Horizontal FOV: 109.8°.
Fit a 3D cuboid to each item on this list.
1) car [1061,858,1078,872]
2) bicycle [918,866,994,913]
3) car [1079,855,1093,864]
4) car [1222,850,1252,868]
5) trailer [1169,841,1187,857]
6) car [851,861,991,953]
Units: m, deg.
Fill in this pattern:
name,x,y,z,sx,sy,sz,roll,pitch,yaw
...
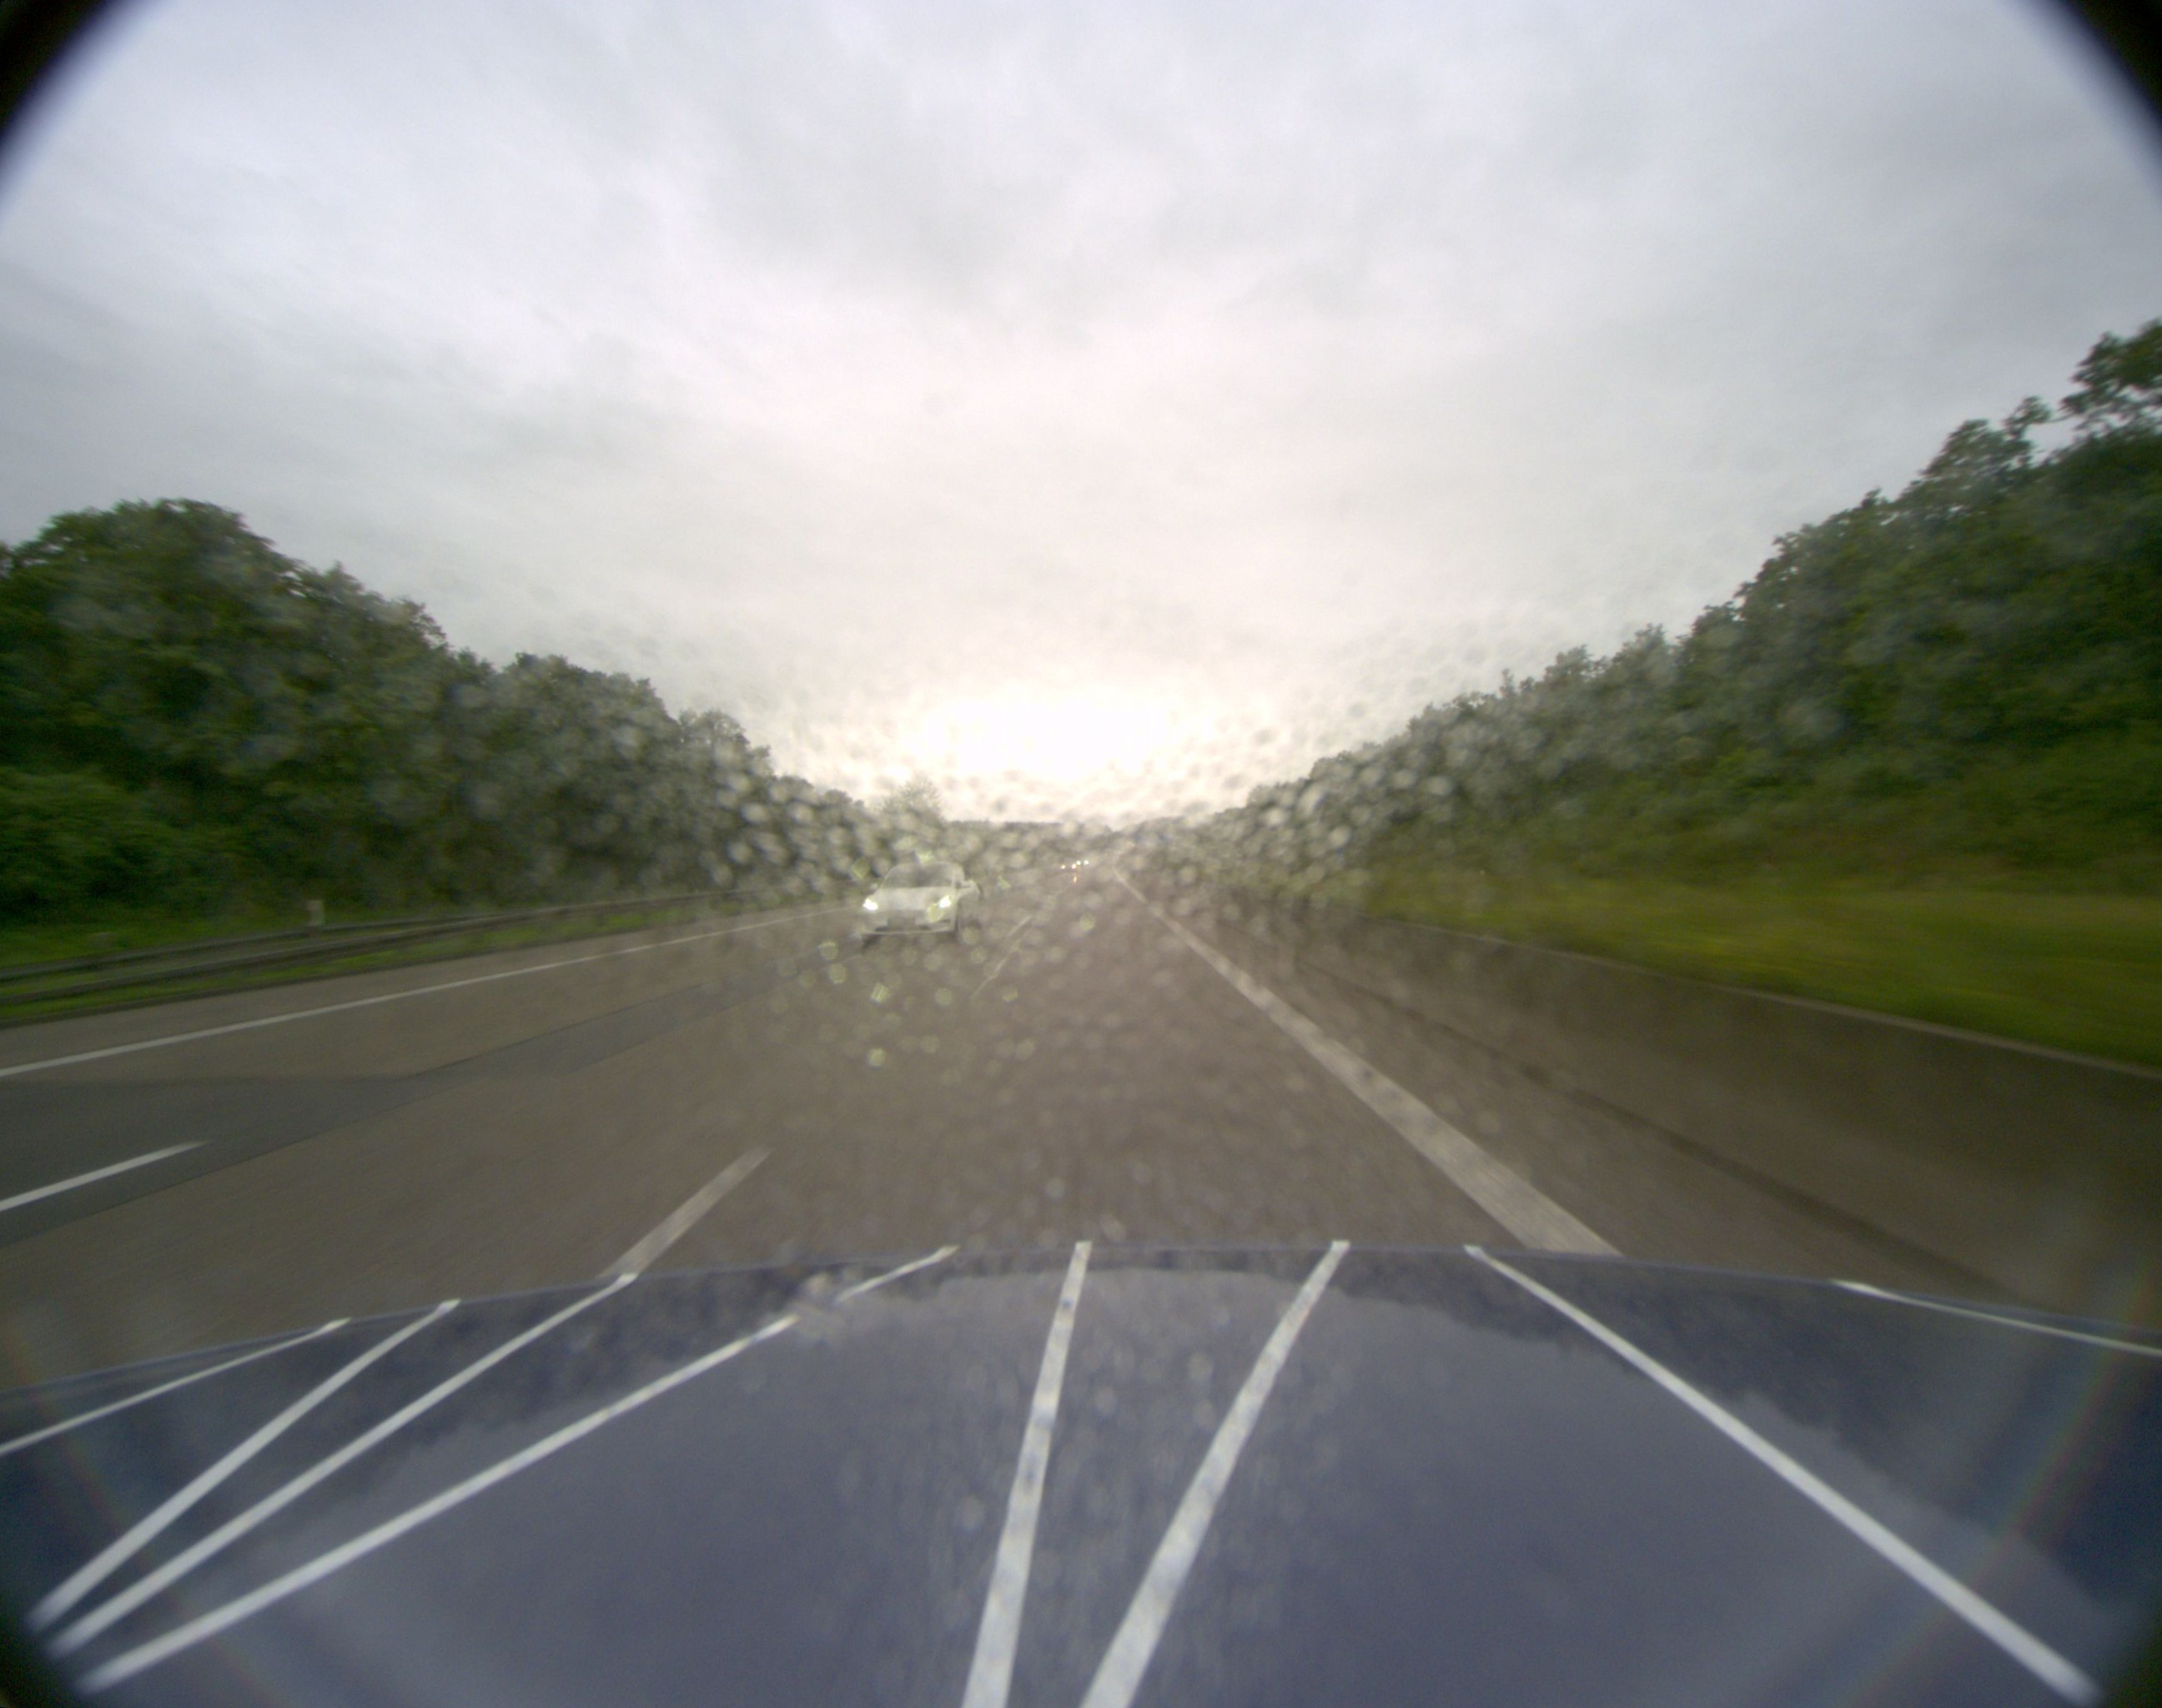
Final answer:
name,x,y,z,sx,sy,sz,roll,pitch,yaw
car,-1.365,1.304,90.523,1.932,1.521,4.297,0,0,0
bicycle,-3.198,0.905,19.538,1.757,1.084,0.913,-2,2,2
car,0.982,1.031,141.099,2.008,1.456,4.001,0,1,8
car,14.194,0.448,69.411,1.998,1.499,4.000,-1,0,1
trailer,22.209,-1.056,174.615,2.995,3.465,13.257,-1,0,2
car,-3.265,1.014,16.594,1.865,1.559,4.963,-2,0,1
